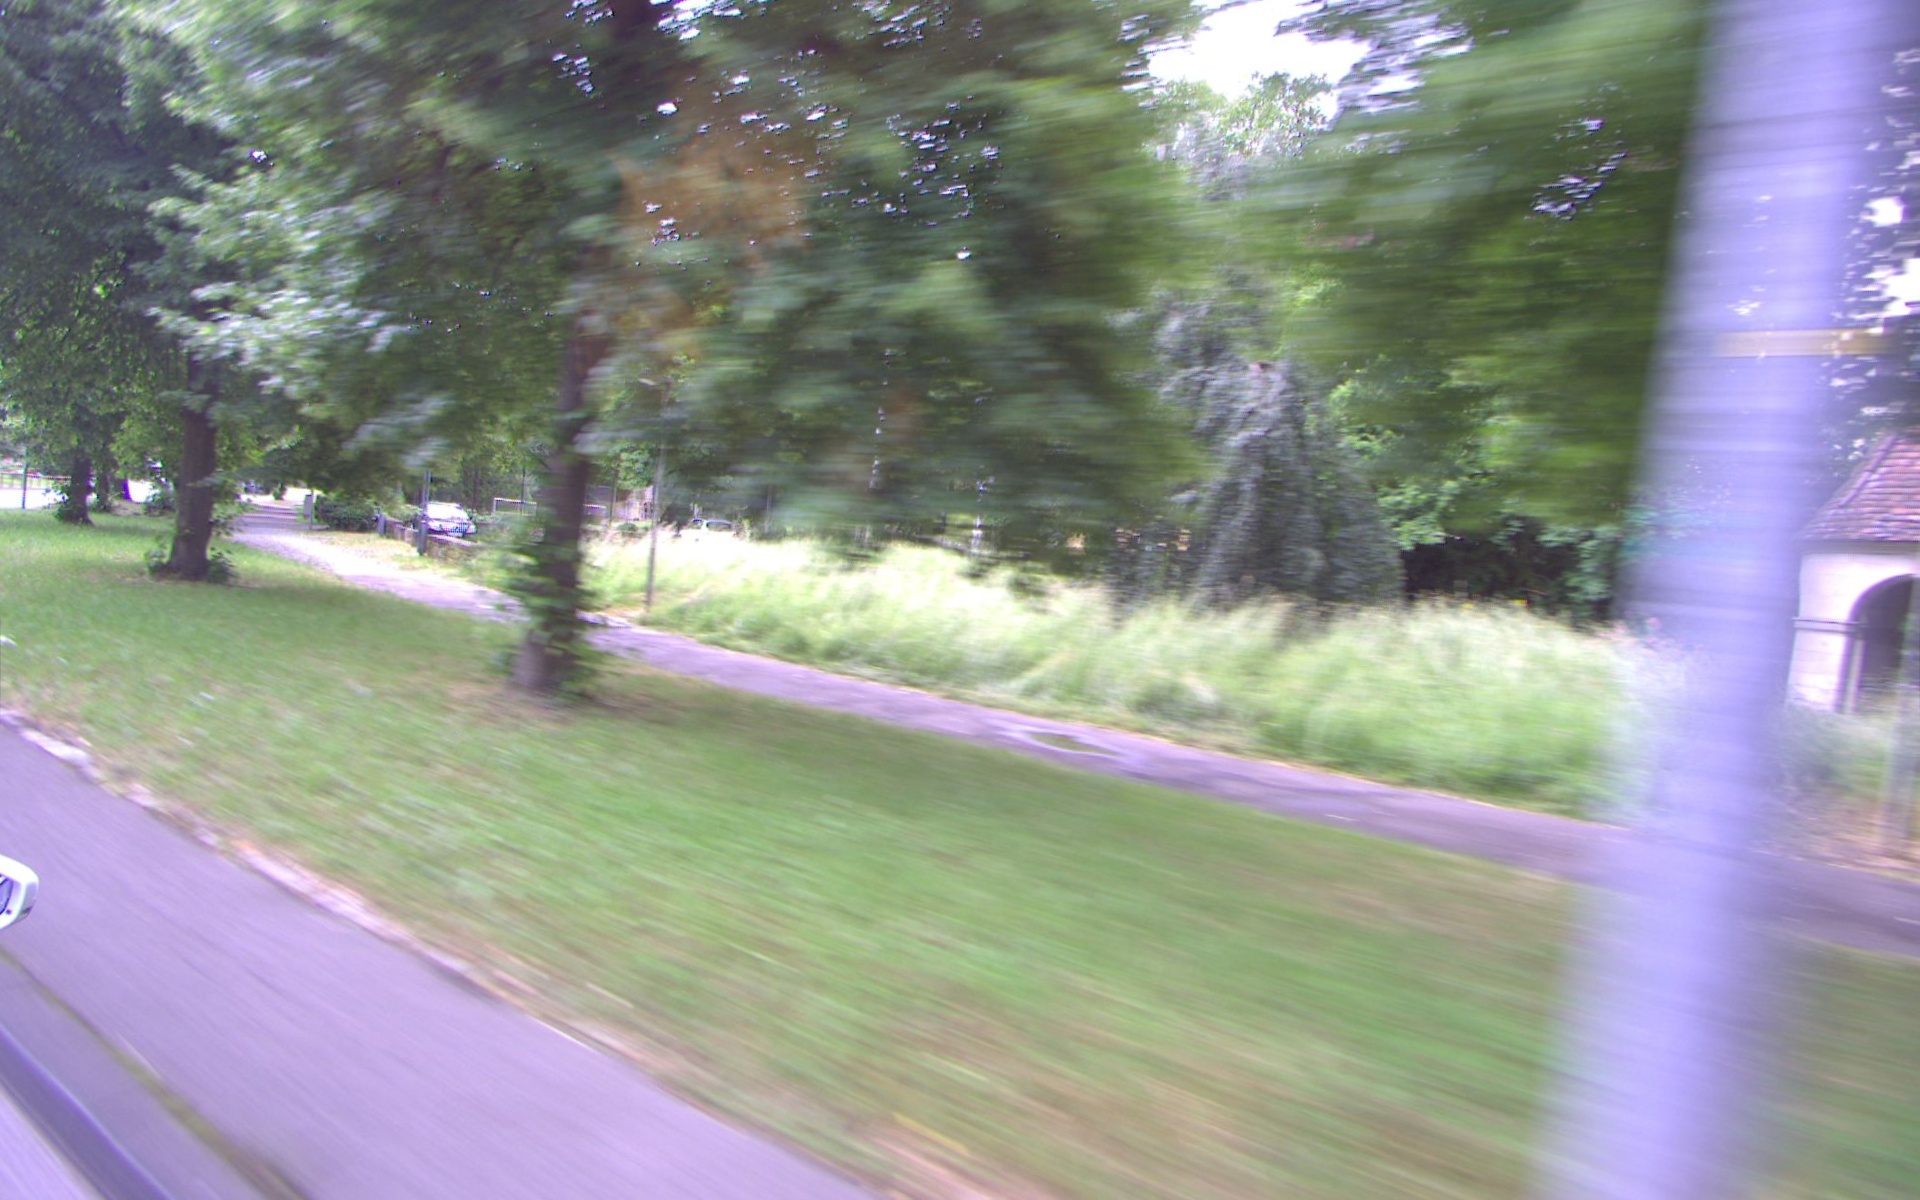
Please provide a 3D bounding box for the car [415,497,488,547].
[{"bbox_3d":[-19.234,-2.959,37.979,1.892,1.452,4.421,3,6,-34],"label":"car"}]

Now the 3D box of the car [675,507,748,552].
[{"bbox_3d":[-11.324,-3.238,45.655,1.977,1.676,3.959,0,7,-34],"label":"car"}]
